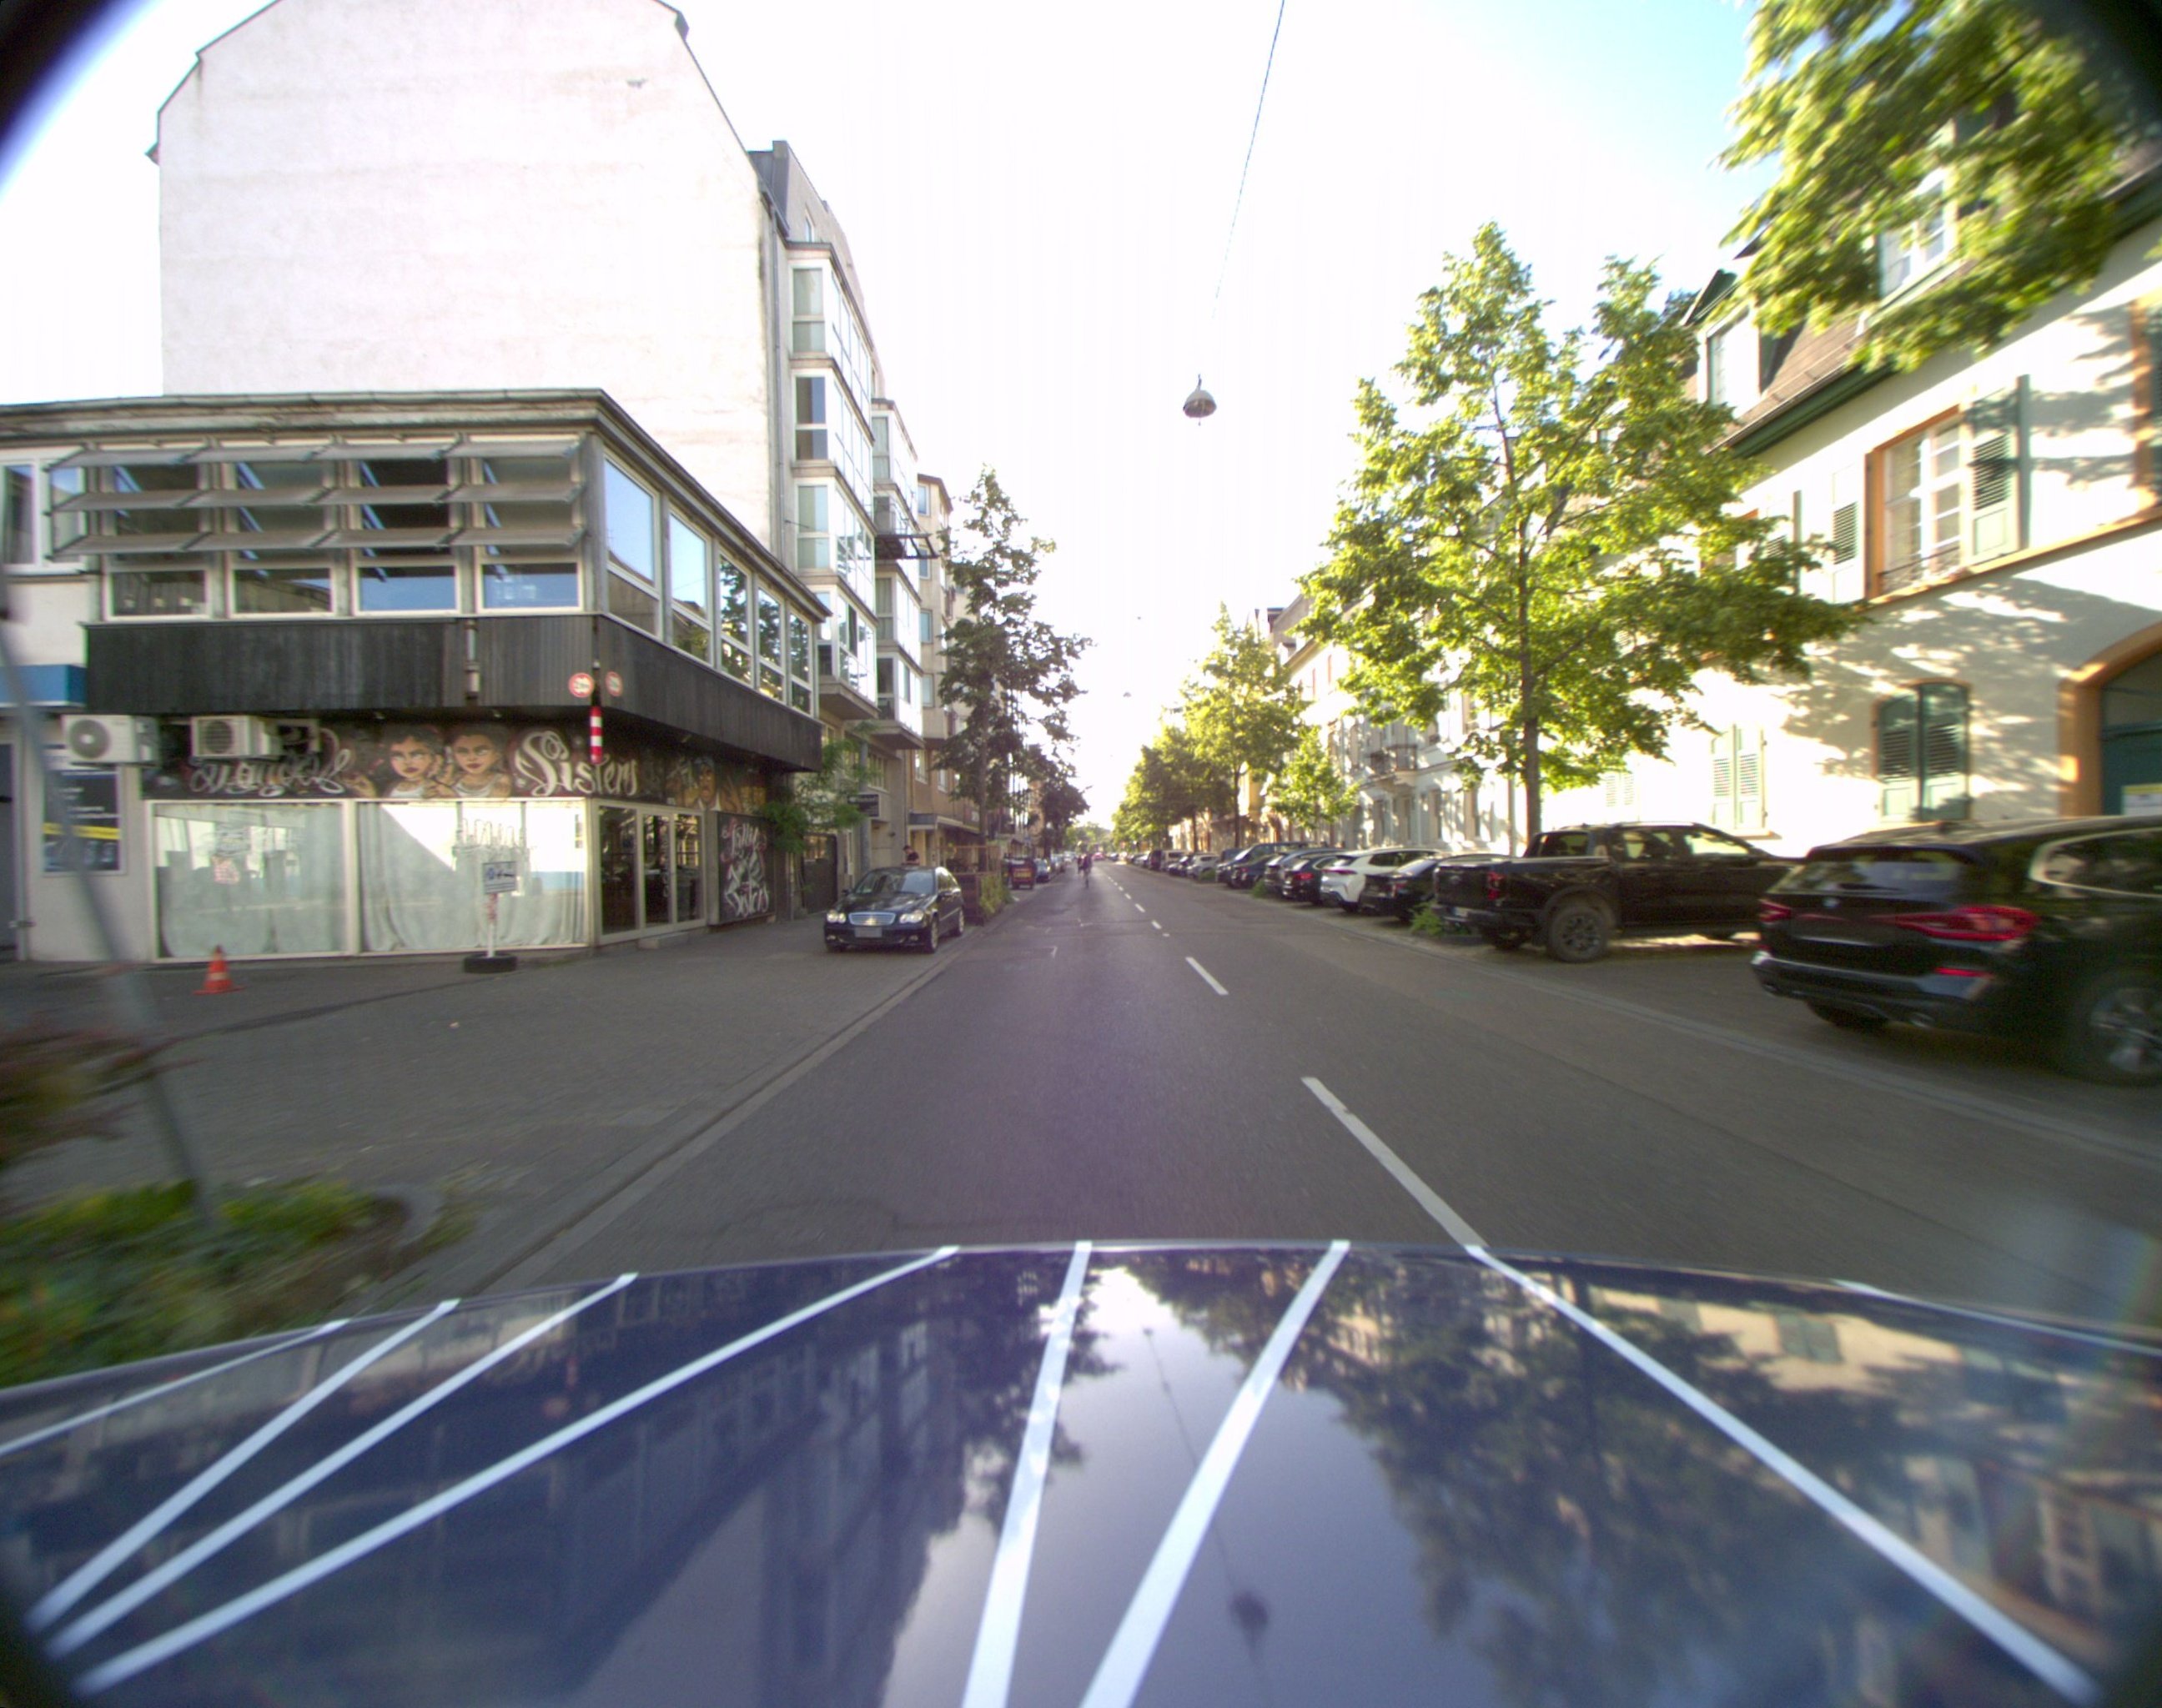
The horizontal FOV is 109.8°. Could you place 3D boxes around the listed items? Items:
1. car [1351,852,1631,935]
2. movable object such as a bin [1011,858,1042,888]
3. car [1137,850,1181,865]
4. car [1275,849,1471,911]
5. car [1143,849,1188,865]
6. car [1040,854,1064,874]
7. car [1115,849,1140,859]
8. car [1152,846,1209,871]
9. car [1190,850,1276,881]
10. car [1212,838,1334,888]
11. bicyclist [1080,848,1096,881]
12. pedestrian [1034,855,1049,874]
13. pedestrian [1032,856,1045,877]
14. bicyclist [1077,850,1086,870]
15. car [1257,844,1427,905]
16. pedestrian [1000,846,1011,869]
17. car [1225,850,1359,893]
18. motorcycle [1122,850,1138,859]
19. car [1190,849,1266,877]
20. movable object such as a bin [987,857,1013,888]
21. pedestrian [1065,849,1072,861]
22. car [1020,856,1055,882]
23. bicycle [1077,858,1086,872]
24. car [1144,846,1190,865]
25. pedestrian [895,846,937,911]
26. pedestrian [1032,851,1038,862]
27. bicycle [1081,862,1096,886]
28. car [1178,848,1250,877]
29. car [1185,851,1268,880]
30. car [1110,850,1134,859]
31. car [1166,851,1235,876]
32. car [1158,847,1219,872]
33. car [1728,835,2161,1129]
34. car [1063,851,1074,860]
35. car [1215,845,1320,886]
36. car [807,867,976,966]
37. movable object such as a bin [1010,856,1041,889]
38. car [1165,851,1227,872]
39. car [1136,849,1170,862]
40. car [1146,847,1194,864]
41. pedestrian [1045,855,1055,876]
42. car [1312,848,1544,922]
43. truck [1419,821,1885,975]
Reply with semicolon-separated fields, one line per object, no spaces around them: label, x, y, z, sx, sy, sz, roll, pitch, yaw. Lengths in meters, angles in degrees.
car;8.173;0.768;15.482;4.691;1.454;1.808;-2;1;2
movable object such as a bin;-2.682;0.919;37.504;1.402;1.445;1.146;-1;1;1
car;8.899;0.364;87.236;4.713;1.484;1.999;-3;2;-4
car;7.919;0.688;20.950;4.691;1.510;1.808;-2;1;2
car;8.916;0.349;80.355;4.354;1.535;1.962;-2;1;-11
car;-2.541;0.834;66.652;1.826;1.587;4.841;1;0;1
car;8.474;-0.010;138.939;4.006;1.553;1.995;-2;1;-31
car;8.473;0.363;65.010;4.584;1.915;1.930;-2;1;3
car;8.398;0.612;42.228;4.476;1.532;1.917;-2;1;4
car;8.117;0.383;32.417;4.691;1.939;1.917;-2;1;2
bicyclist;0.356;0.499;37.306;0.718;1.553;0.864;-1;1;1
pedestrian;-3.110;0.822;60.245;1.058;1.527;0.892;-1;1;5
pedestrian;-3.125;0.887;56.013;0.712;1.527;0.770;-1;1;15
bicyclist;0.046;0.483;60.382;0.658;1.562;0.909;-2;1;1
car;8.065;0.608;23.781;4.691;1.702;1.808;-2;1;2
pedestrian;-5.635;0.283;56.938;0.629;1.686;0.504;0;1;20
car;7.989;0.646;29.036;4.657;1.451;1.683;-2;1;1
motorcycle;7.903;0.117;123.491;2.316;1.415;1.002;-1;1;28
car;9.091;0.571;47.150;4.350;1.573;1.809;-2;1;1
movable object such as a bin;-3.842;0.861;36.180;1.080;1.423;1.295;-1;0;1
pedestrian;-1.869;0.145;117.251;0.693;1.709;0.896;1;1;25
car;-2.649;0.912;47.228;1.826;1.463;4.911;1;0;1
bicycle;0.059;0.879;60.319;0.666;1.061;1.836;-2;1;1
car;8.839;0.180;78.058;4.353;1.813;1.929;-2;1;-7
pedestrian;-5.018;0.732;23.120;0.925;1.924;0.762;-1;1;26
pedestrian;-6.976;0.362;115.748;0.618;1.683;0.717;-1;2;28
bicycle;0.365;0.961;37.622;0.718;1.105;2.269;-1;1;1
car;8.596;0.513;49.331;4.350;1.699;1.916;-2;1;1
car;8.524;0.655;44.706;4.477;1.532;1.916;-2;1;0
car;7.588;0.055;141.164;4.006;1.433;1.995;-2;1;-31
car;8.124;0.624;51.961;4.476;1.532;1.917;-2;1;3
car;8.505;0.402;60.132;4.353;1.823;1.915;-2;1;-9
car;7.712;0.725;5.344;4.691;1.683;1.808;-2;1;2
car;-2.266;0.332;138.513;1.998;1.565;4.000;1;1;1
car;8.666;0.518;35.617;4.477;1.762;1.917;-2;1;2
car;-3.214;0.994;13.942;1.905;1.404;4.646;1;0;0
movable object such as a bin;-2.648;0.888;36.339;1.334;1.533;1.146;-1;1;1
car;8.608;0.554;57.107;4.351;1.430;1.916;-2;1;-1
car;9.505;0.176;100.213;4.349;1.535;1.944;-2;1;3
car;8.828;0.145;75.427;4.352;1.535;1.915;-2;1;-6
pedestrian;-2.276;0.819;55.974;0.652;1.527;0.980;-1;1;-1
car;8.146;0.707;18.176;4.691;1.563;1.808;-2;1;2
truck;7.785;0.564;10.768;5.097;1.927;2.000;-1;0;0
